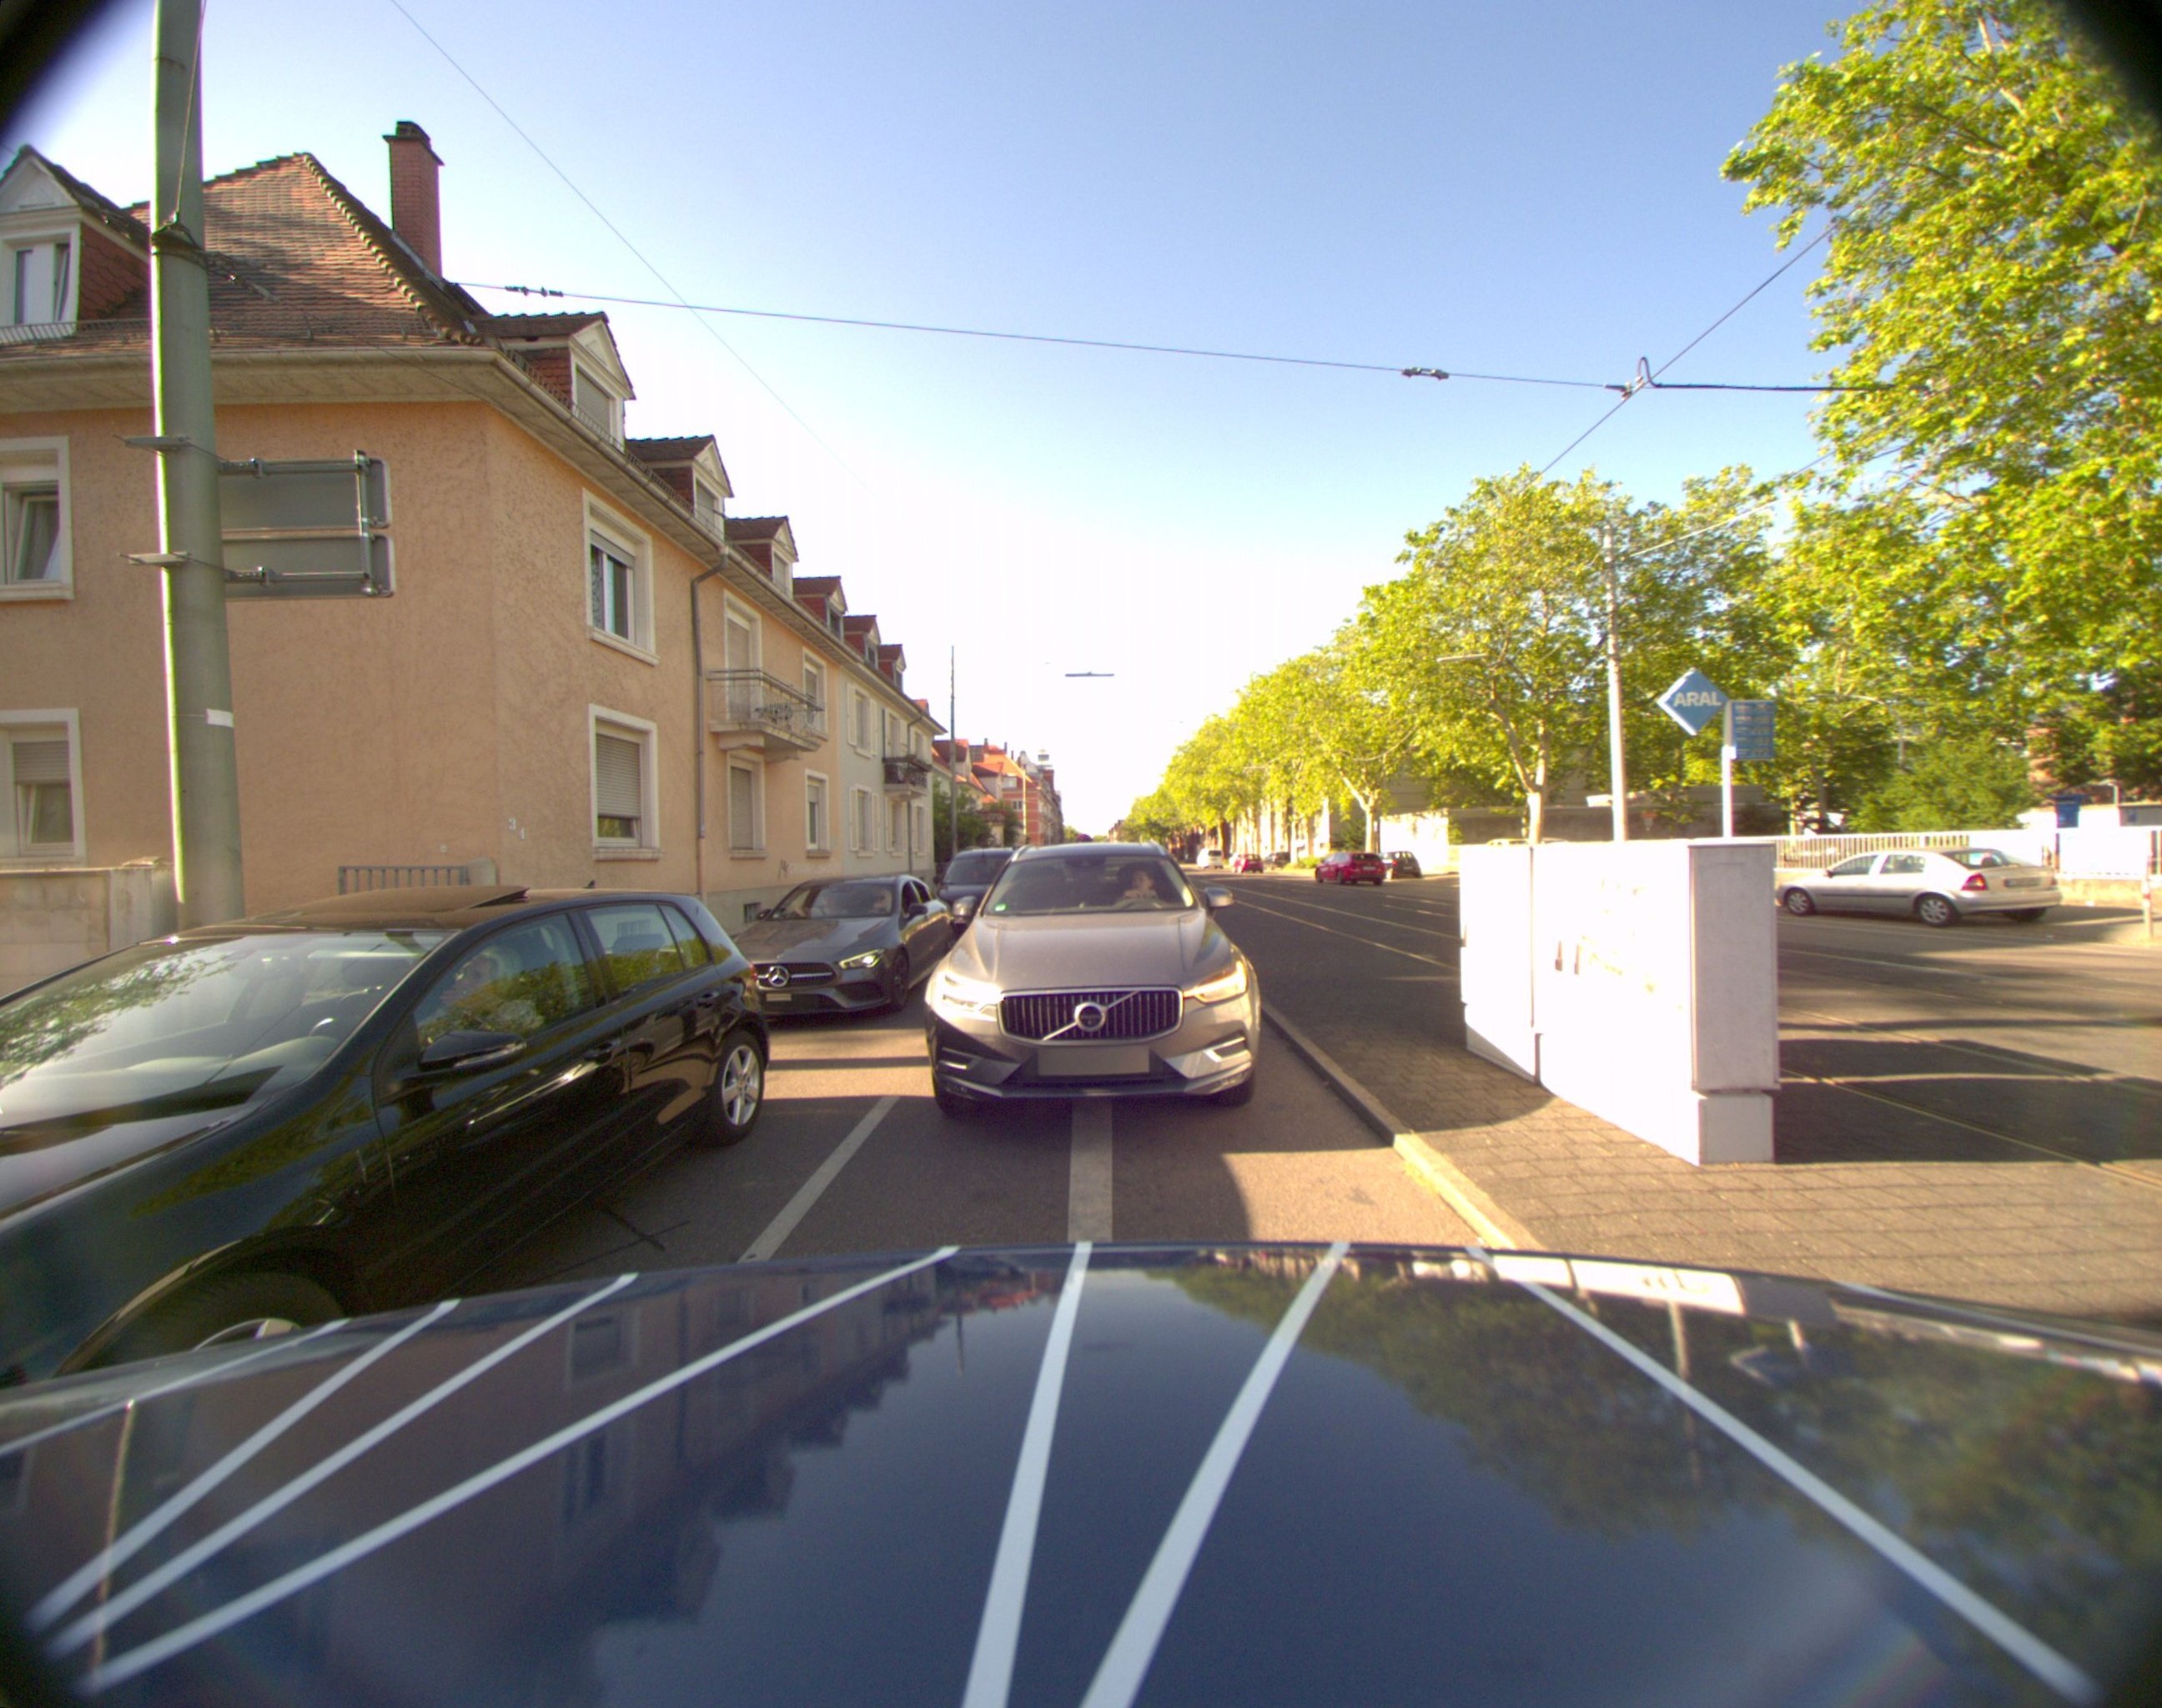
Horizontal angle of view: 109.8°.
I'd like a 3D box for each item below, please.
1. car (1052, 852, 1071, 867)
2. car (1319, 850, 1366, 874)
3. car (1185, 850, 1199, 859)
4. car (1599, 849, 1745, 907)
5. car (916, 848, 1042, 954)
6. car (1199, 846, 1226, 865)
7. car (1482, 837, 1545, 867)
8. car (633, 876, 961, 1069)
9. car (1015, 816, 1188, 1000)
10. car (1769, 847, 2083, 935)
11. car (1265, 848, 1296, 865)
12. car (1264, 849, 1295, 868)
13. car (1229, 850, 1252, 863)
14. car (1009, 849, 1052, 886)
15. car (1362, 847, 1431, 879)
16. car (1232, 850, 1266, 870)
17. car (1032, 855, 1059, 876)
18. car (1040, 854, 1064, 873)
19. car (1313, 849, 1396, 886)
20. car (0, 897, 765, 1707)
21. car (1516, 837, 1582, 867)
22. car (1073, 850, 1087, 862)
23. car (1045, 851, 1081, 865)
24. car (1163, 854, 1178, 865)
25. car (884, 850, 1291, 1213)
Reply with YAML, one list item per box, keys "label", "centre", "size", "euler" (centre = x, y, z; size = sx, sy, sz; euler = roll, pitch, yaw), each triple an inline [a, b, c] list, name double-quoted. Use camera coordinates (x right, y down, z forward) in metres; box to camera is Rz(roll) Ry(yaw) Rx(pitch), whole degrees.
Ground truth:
- label: "car"
  centre: [-2.178, 0.594, 85.437]
  size: [1.841, 1.449, 3.999]
  euler: [-2, 1, 1]
- label: "car"
  centre: [16.915, 0.491, 49.252]
  size: [1.700, 1.460, 3.999]
  euler: [-1, 1, 1]
- label: "car"
  centre: [18.338, 0.035, 125.560]
  size: [1.700, 1.401, 3.999]
  euler: [-1, 1, 1]
- label: "car"
  centre: [16.351, 0.610, 21.215]
  size: [1.546, 1.412, 3.254]
  euler: [-2, 1, 1]
- label: "car"
  centre: [-1.939, 0.818, 15.901]
  size: [1.866, 1.794, 4.778]
  euler: [-2, 1, 1]
- label: "car"
  centre: [12.806, 0.116, 74.311]
  size: [1.850, 1.835, 4.394]
  euler: [-1, 1, -1]
- label: "car"
  centre: [21.717, -0.108, 38.267]
  size: [1.545, 1.412, 3.151]
  euler: [-2, 1, 4]
- label: "car"
  centre: [-2.786, 1.084, 8.752]
  size: [1.911, 1.411, 4.492]
  euler: [-2, 1, 2]
- label: "car"
  centre: [0.238, 0.600, 11.123]
  size: [1.912, 2.048, 4.763]
  euler: [-2, 1, 0]
- label: "car"
  centre: [16.186, 0.610, 14.917]
  size: [1.731, 1.412, 3.999]
  euler: [-2, 1, 1]
- label: "car"
  centre: [17.288, 0.233, 65.913]
  size: [1.700, 1.401, 3.999]
  euler: [-1, 1, 1]
- label: "car"
  centre: [17.171, 0.326, 65.994]
  size: [1.700, 1.566, 3.999]
  euler: [-1, 1, 1]
- label: "car"
  centre: [17.520, 0.258, 83.521]
  size: [1.700, 1.401, 3.999]
  euler: [-1, 1, 1]
- label: "car"
  centre: [-2.898, 0.726, 45.000]
  size: [1.937, 1.888, 7.210]
  euler: [-2, 1, 1]
- label: "car"
  centre: [17.014, 0.441, 41.206]
  size: [1.753, 1.514, 4.434]
  euler: [-5, 1, -1]
- label: "car"
  centre: [12.274, 0.431, 55.663]
  size: [1.699, 1.412, 3.999]
  euler: [0, 1, 1]
- label: "car"
  centre: [-2.824, 0.894, 60.590]
  size: [1.841, 1.449, 3.999]
  euler: [-2, 1, 1]
- label: "car"
  centre: [-2.528, 0.811, 66.999]
  size: [1.841, 1.449, 3.999]
  euler: [-2, 1, 1]
- label: "car"
  centre: [11.855, 0.530, 33.339]
  size: [1.912, 1.514, 4.763]
  euler: [0, 1, 0]
- label: "car"
  centre: [-2.834, 0.998, 2.593]
  size: [1.733, 1.499, 4.051]
  euler: [-2, -1, 1]
- label: "car"
  centre: [23.723, -0.136, 38.608]
  size: [1.545, 1.412, 3.151]
  euler: [-2, 1, 4]
- label: "car"
  centre: [-0.154, 0.283, 106.489]
  size: [1.841, 1.449, 3.999]
  euler: [-2, 1, 1]
- label: "car"
  centre: [-2.277, 0.499, 94.361]
  size: [3.991, 1.449, 1.845]
  euler: [-2, 1, 22]
- label: "car"
  centre: [12.989, 0.771, 110.634]
  size: [1.764, 1.487, 3.999]
  euler: [-2, 1, 1]
- label: "car"
  centre: [0.039, 0.856, 6.071]
  size: [1.912, 1.666, 4.763]
  euler: [-2, 1, 0]
